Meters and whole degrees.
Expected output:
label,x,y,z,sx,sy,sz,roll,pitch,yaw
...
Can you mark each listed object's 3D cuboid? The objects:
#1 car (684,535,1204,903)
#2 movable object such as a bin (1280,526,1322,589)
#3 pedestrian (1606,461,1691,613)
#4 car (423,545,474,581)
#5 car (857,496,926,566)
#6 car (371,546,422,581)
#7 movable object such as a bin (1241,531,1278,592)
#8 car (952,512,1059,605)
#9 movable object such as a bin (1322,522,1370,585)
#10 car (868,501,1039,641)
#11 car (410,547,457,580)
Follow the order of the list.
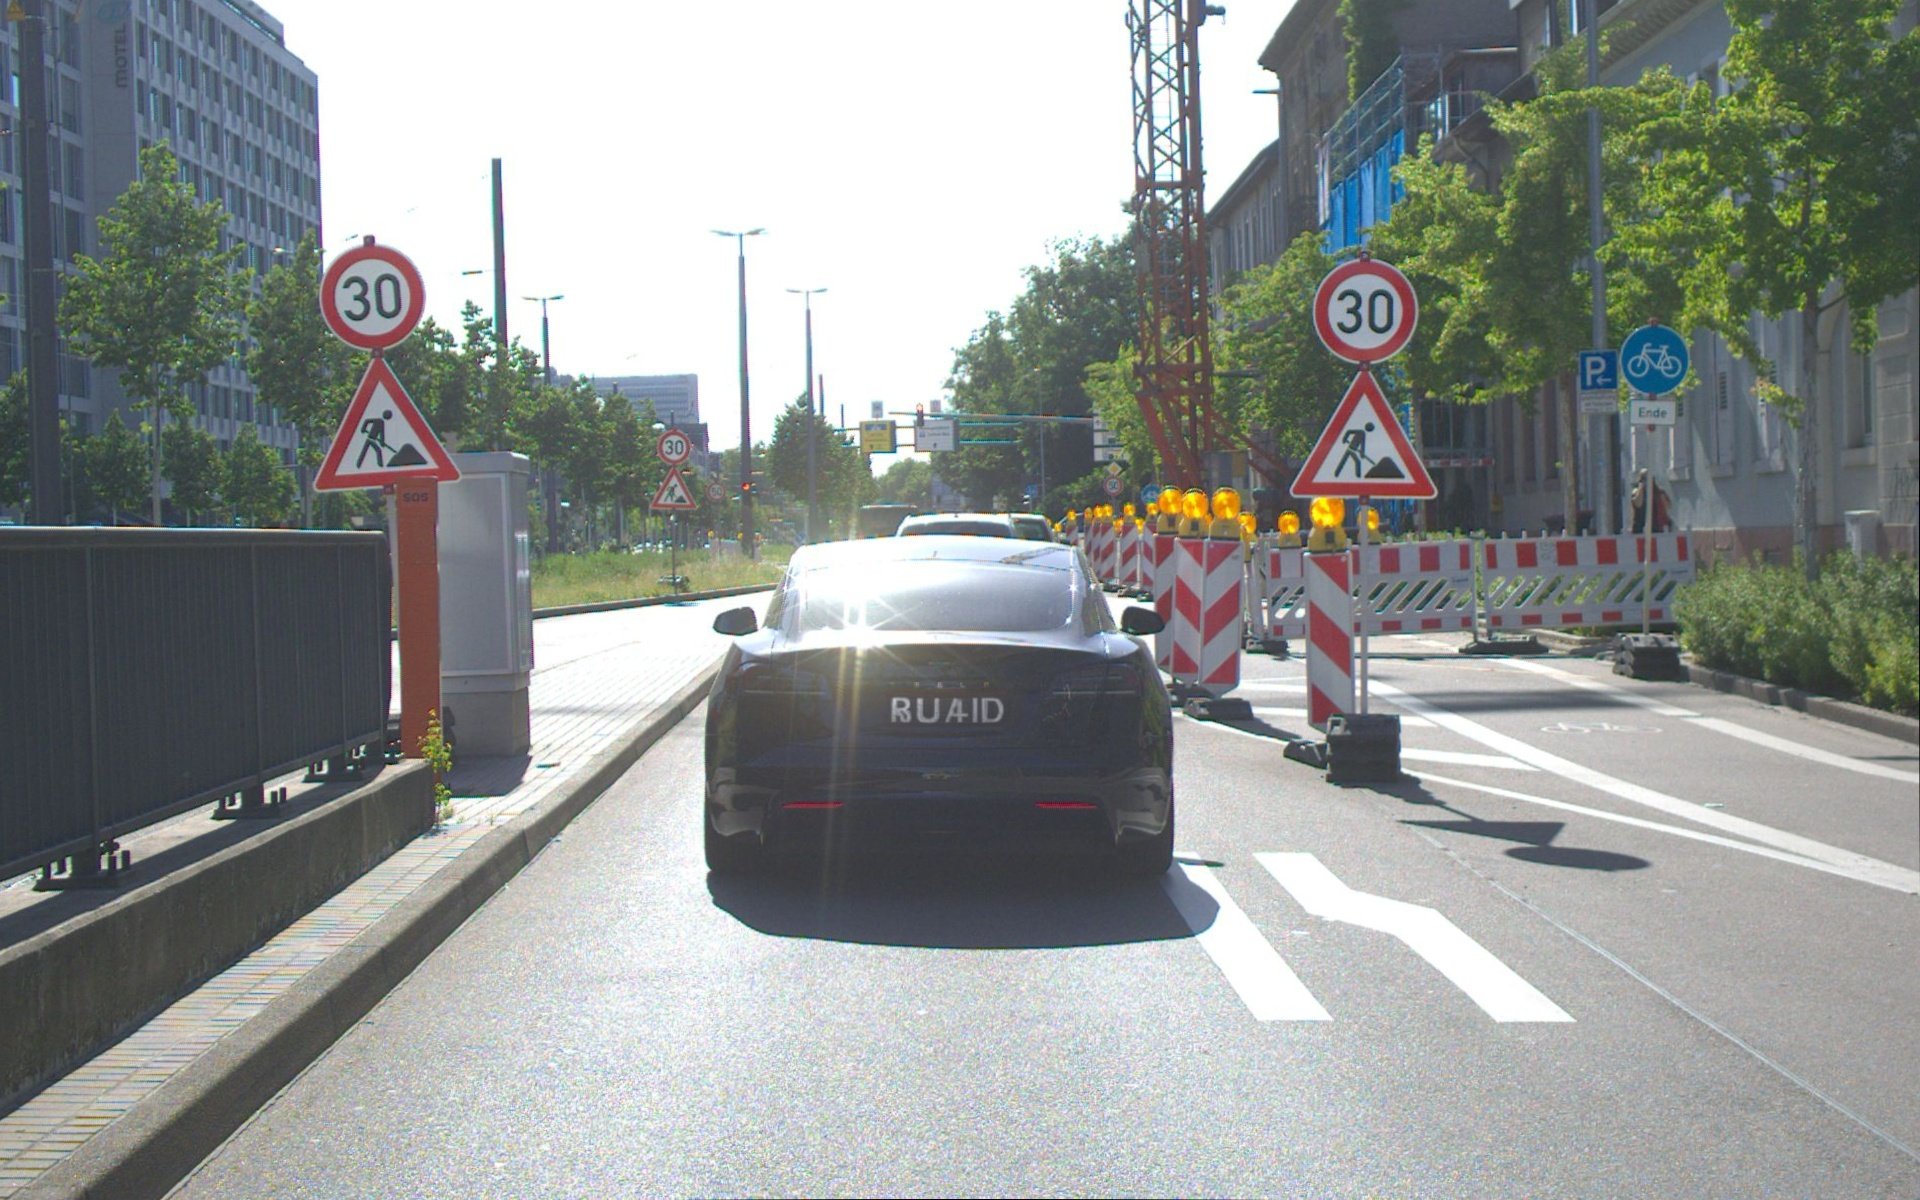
label,x,y,z,sx,sy,sz,roll,pitch,yaw
car,-0.088,0.428,15.851,2.051,1.439,4.525,0,1,-1
movable object such as a bin,6.028,-0.753,60.777,0.595,1.054,0.730,-5,1,1
pedestrian,8.875,-0.814,44.307,0.793,1.922,0.770,-1,1,-16
car,-24.697,-1.795,166.188,1.790,1.645,4.000,-2,1,0
car,-2.287,-2.304,114.062,2.218,2.259,4.484,0,1,-1
car,-27.580,-1.784,168.325,1.790,1.645,4.000,-2,1,0
movable object such as a bin,5.279,-0.676,60.534,0.588,1.054,0.730,0,1,1
car,0.762,-0.718,58.671,1.749,1.522,4.005,0,1,0
movable object such as a bin,6.804,-0.824,60.626,0.587,1.054,0.783,-6,2,-4
car,-0.093,-0.352,37.948,1.747,1.422,4.838,-1,1,-1
car,-27.242,-1.914,177.998,1.790,1.645,4.000,-2,1,0
